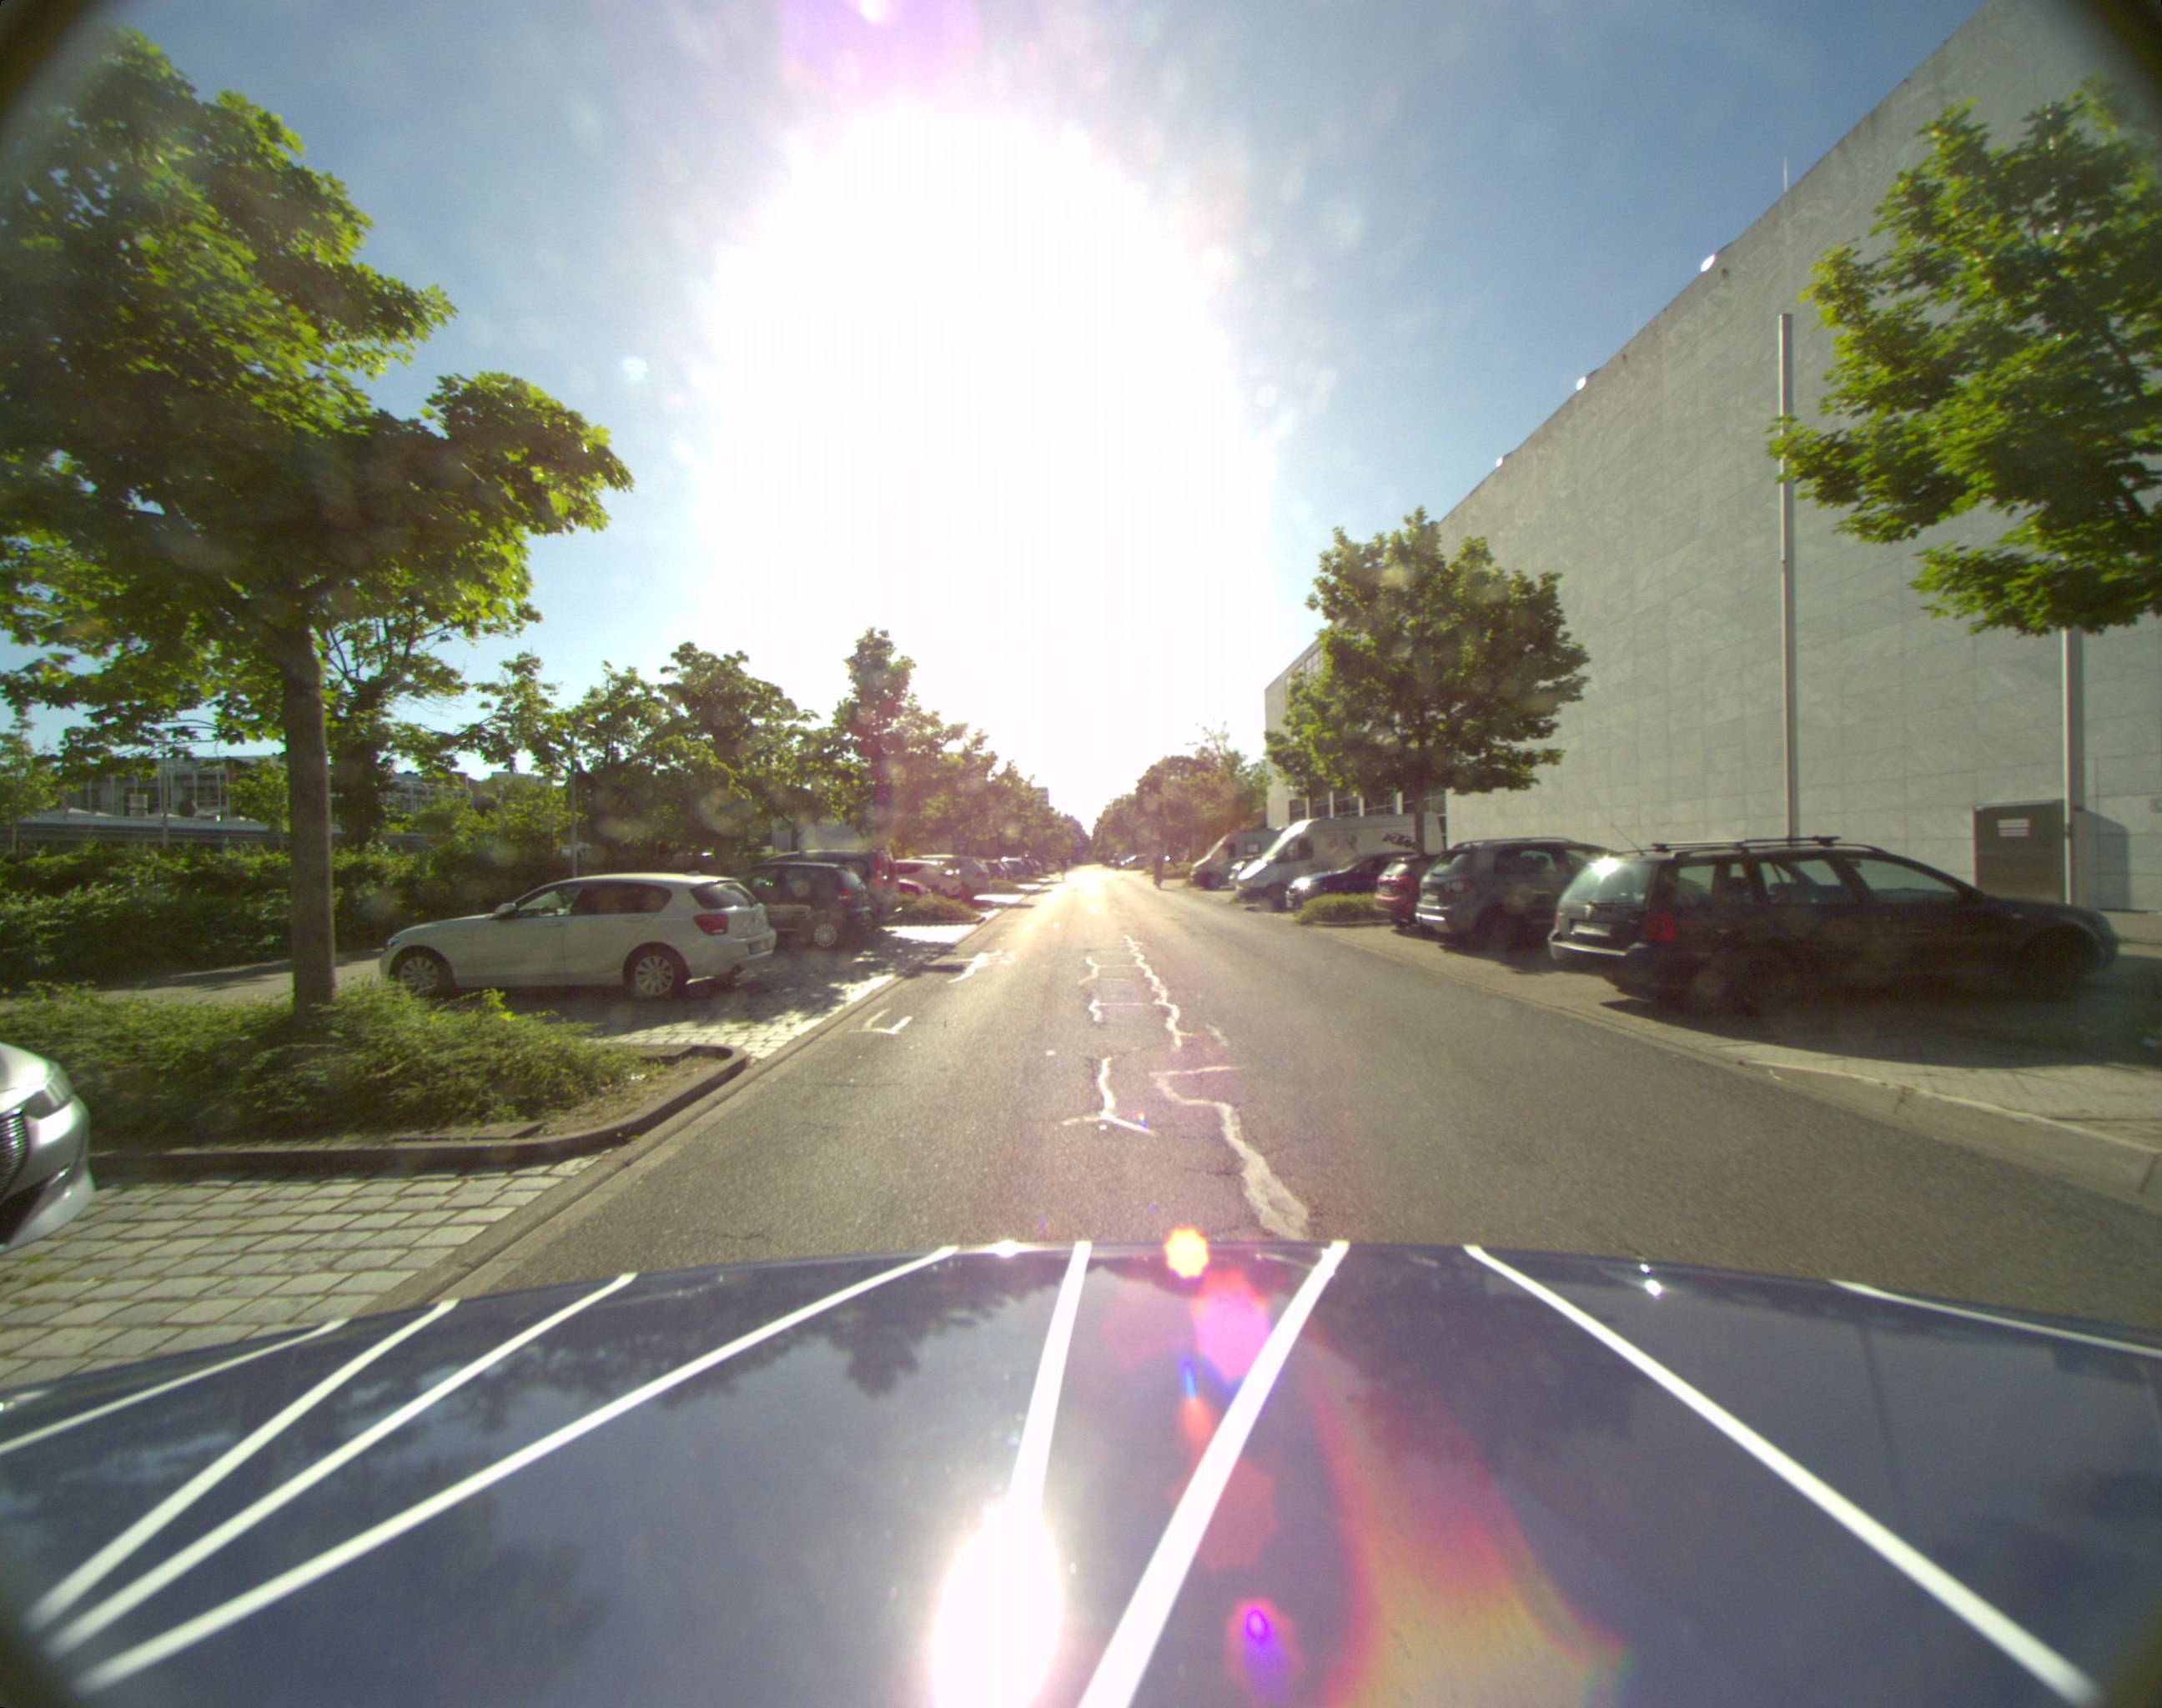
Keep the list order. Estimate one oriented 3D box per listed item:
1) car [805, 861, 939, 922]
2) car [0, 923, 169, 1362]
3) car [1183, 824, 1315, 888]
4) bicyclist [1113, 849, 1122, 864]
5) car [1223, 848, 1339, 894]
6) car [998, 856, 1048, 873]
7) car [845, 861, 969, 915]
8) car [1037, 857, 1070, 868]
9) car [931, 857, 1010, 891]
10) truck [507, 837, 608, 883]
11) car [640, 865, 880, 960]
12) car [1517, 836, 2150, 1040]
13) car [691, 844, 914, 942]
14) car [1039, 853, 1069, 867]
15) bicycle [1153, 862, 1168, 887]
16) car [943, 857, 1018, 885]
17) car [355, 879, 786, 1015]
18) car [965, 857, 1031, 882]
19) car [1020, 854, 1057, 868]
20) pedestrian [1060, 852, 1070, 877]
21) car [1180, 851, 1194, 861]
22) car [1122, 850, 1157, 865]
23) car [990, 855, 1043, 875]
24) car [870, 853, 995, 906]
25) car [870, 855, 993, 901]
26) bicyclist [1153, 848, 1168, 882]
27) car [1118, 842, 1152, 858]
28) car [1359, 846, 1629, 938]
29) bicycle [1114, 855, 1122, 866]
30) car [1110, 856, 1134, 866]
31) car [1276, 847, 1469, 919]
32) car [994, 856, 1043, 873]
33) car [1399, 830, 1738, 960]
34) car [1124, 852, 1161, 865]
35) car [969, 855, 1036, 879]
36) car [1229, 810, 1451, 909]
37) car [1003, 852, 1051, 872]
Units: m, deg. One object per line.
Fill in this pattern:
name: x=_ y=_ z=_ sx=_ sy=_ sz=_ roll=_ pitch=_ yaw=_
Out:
car: x=-5.721 y=0.992 z=21.109 sx=3.374 sy=1.521 sz=1.599 roll=-1 pitch=1 yaw=-8
car: x=-5.710 y=1.059 z=2.229 sx=3.910 sy=1.477 sz=1.743 roll=-1 pitch=0 yaw=0
car: x=7.330 y=0.081 z=33.642 sx=5.261 sy=2.404 sz=2.123 roll=-4 pitch=0 yaw=2
bicyclist: x=3.434 y=0.206 z=71.424 sx=0.759 sy=1.423 sz=1.132 roll=0 pitch=1 yaw=2
car: x=7.449 y=0.608 z=28.550 sx=3.839 sy=1.463 sz=1.848 roll=-3 pitch=0 yaw=3
car: x=-4.923 y=0.860 z=64.685 sx=4.165 sy=1.398 sz=1.829 roll=0 pitch=0 yaw=-1
car: x=-5.307 y=1.030 z=23.516 sx=3.507 sy=1.520 sz=1.737 roll=-1 pitch=-1 yaw=-4
car: x=-3.565 y=1.059 z=97.899 sx=4.165 sy=1.398 sz=1.829 roll=0 pitch=0 yaw=-1
car: x=-5.098 y=0.917 z=35.399 sx=3.462 sy=1.480 sz=1.746 roll=0 pitch=1 yaw=-1
truck: x=-45.900 y=0.541 z=66.750 sx=6.917 sy=3.784 sz=2.813 roll=-1 pitch=-1 yaw=2
car: x=-5.697 y=1.018 z=13.828 sx=3.615 sy=1.540 sz=1.707 roll=-1 pitch=-1 yaw=-1
car: x=6.847 y=0.728 z=7.324 sx=4.140 sy=1.483 sz=1.869 roll=-3 pitch=-1 yaw=1
car: x=-5.943 y=0.822 z=16.621 sx=4.129 sy=1.916 sz=1.979 roll=-1 pitch=-1 yaw=-1
car: x=-3.869 y=0.829 z=109.425 sx=4.257 sy=2.020 sz=1.974 roll=0 pitch=1 yaw=-1
bicycle: x=3.661 y=0.922 z=35.117 sx=0.699 sy=1.104 sz=2.080 roll=0 pitch=0 yaw=5
car: x=-5.597 y=0.963 z=42.795 sx=3.904 sy=1.489 sz=1.842 roll=-1 pitch=0 yaw=2
car: x=-5.972 y=1.052 z=9.238 sx=4.071 sy=1.417 sz=1.742 roll=0 pitch=1 yaw=2
car: x=-5.079 y=0.947 z=46.897 sx=3.909 sy=1.459 sz=1.621 roll=-1 pitch=-1 yaw=-1
car: x=-4.799 y=0.815 z=86.235 sx=4.165 sy=1.588 sz=1.829 roll=0 pitch=0 yaw=-1
pedestrian: x=-1.152 y=0.748 z=54.394 sx=0.721 sy=1.761 sz=1.168 roll=0 pitch=1 yaw=-1
car: x=16.539 y=0.287 z=118.616 sx=1.833 sy=1.604 sz=4.145 roll=0 pitch=0 yaw=5
car: x=8.141 y=0.539 z=106.256 sx=4.633 sy=1.979 sz=2.000 roll=-1 pitch=-1 yaw=0
car: x=-4.968 y=0.835 z=58.773 sx=3.909 sy=1.418 sz=1.672 roll=-1 pitch=1 yaw=-1
car: x=-5.015 y=0.860 z=26.161 sx=3.909 sy=1.685 sz=1.940 roll=-1 pitch=-1 yaw=-1
car: x=-5.586 y=0.882 z=28.849 sx=4.332 sy=1.598 sz=1.911 roll=-1 pitch=0 yaw=-3
bicyclist: x=3.657 y=0.493 z=35.058 sx=0.685 sy=1.571 sz=1.061 roll=0 pitch=1 yaw=5
car: x=8.283 y=-0.594 z=116.821 sx=5.132 sy=2.364 sz=2.000 roll=-1 pitch=-1 yaw=0
car: x=7.525 y=0.662 z=14.155 sx=3.996 sy=1.508 sz=1.855 roll=-1 pitch=1 yaw=1
bicycle: x=3.446 y=0.587 z=71.462 sx=0.759 sy=0.996 sz=1.872 roll=0 pitch=0 yaw=2
car: x=7.933 y=1.396 z=148.710 sx=4.562 sy=1.819 sz=2.000 roll=-1 pitch=-1 yaw=0
car: x=6.945 y=0.670 z=18.424 sx=3.942 sy=1.476 sz=1.785 roll=-3 pitch=1 yaw=2
car: x=-5.074 y=0.852 z=61.938 sx=3.909 sy=1.428 sz=1.808 roll=0 pitch=0 yaw=-1
car: x=7.333 y=0.592 z=11.784 sx=3.996 sy=1.654 sz=1.828 roll=-3 pitch=1 yaw=4
car: x=7.956 y=0.612 z=98.596 sx=4.684 sy=1.398 sz=1.829 roll=-3 pitch=0 yaw=2
car: x=-5.054 y=0.815 z=49.428 sx=4.197 sy=1.511 sz=1.736 roll=-1 pitch=0 yaw=-1
car: x=7.233 y=0.158 z=21.710 sx=5.564 sy=2.396 sz=1.988 roll=-3 pitch=0 yaw=2
car: x=-4.780 y=0.700 z=67.937 sx=4.165 sy=1.836 sz=1.880 roll=0 pitch=0 yaw=1
